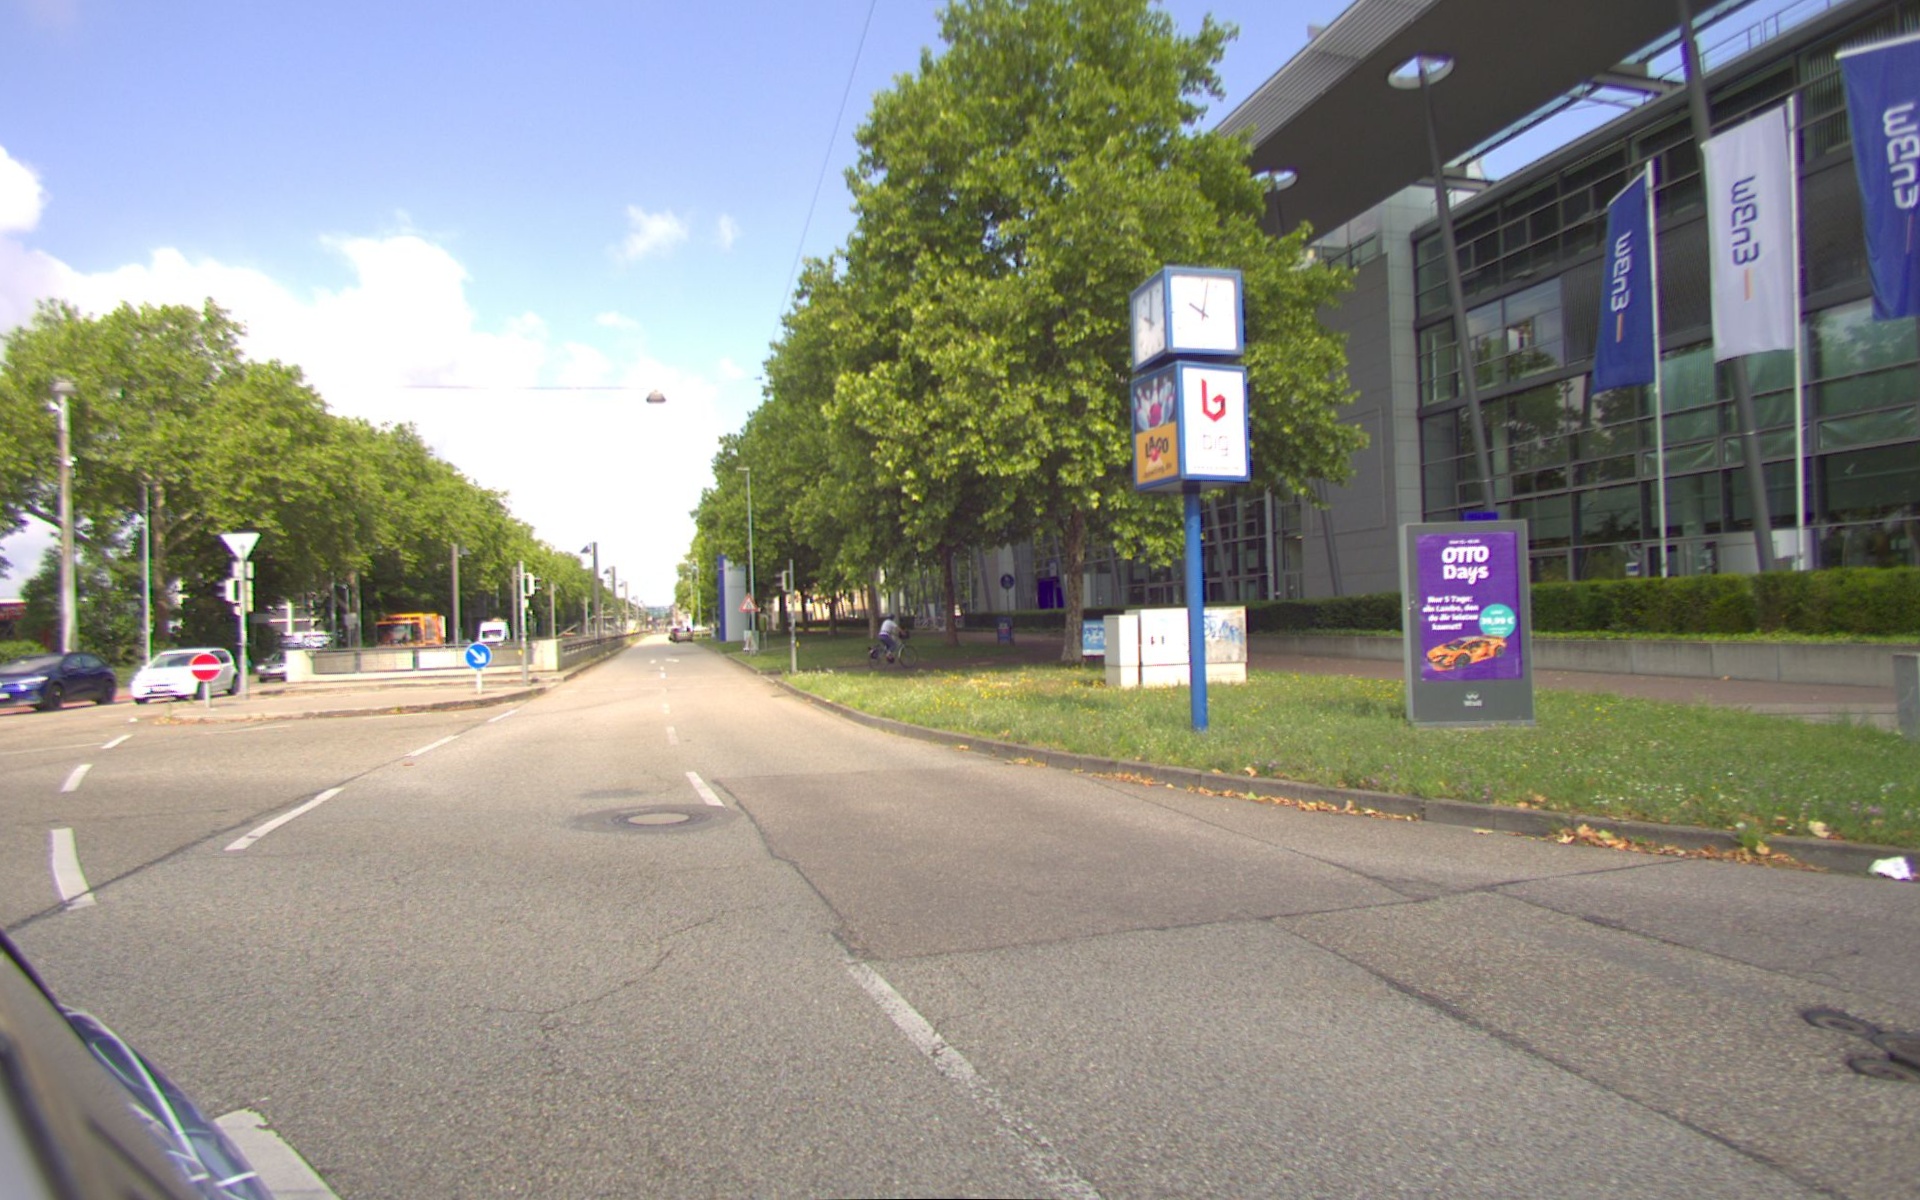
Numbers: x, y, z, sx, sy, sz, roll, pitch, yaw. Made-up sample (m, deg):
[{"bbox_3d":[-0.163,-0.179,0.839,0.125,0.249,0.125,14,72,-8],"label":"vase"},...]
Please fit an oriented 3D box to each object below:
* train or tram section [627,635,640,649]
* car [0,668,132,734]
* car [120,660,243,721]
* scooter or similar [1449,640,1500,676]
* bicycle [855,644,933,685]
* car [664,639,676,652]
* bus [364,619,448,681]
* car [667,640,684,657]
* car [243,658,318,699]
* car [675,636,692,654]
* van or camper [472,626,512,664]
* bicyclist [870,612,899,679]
[{"bbox_3d":[-67.249,8.682,208.378,2.179,2.476,6.270,4,0,-21],"label":"train or tram section"},{"bbox_3d":[-25.526,2.778,28.428,1.860,1.587,4.593,-1,-2,-16],"label":"car"},{"bbox_3d":[-22.806,2.606,29.808,1.708,1.497,3.613,-4,-1,-18],"label":"car"},{"bbox_3d":[11.321,1.268,22.304,0.237,0.718,1.234,4,-1,-12],"label":"scooter or similar"},{"bbox_3d":[-2.034,1.973,31.228,2.144,1.094,0.889,-3,-1,-23],"label":"bicycle"},{"bbox_3d":[-32.715,5.167,114.291,1.161,1.252,2.557,5,-1,-17],"label":"car"},{"bbox_3d":[-37.784,3.267,69.425,2.700,3.491,10.426,4,0,-16],"label":"bus"},{"bbox_3d":[-28.945,4.910,102.915,1.557,1.444,3.166,6,-1,-16],"label":"car"},{"bbox_3d":[-30.932,3.554,46.185,1.742,1.475,4.012,0,1,-16],"label":"car"},{"bbox_3d":[-26.629,4.286,97.524,1.398,1.467,3.166,6,-1,-16],"label":"car"},{"bbox_3d":[-39.811,3.761,86.185,2.128,2.806,5.984,4,-1,-18],"label":"van or camper"},{"bbox_3d":[-2.326,1.400,31.117,0.718,2.029,0.605,3,-6,-23],"label":"bicyclist"}]
